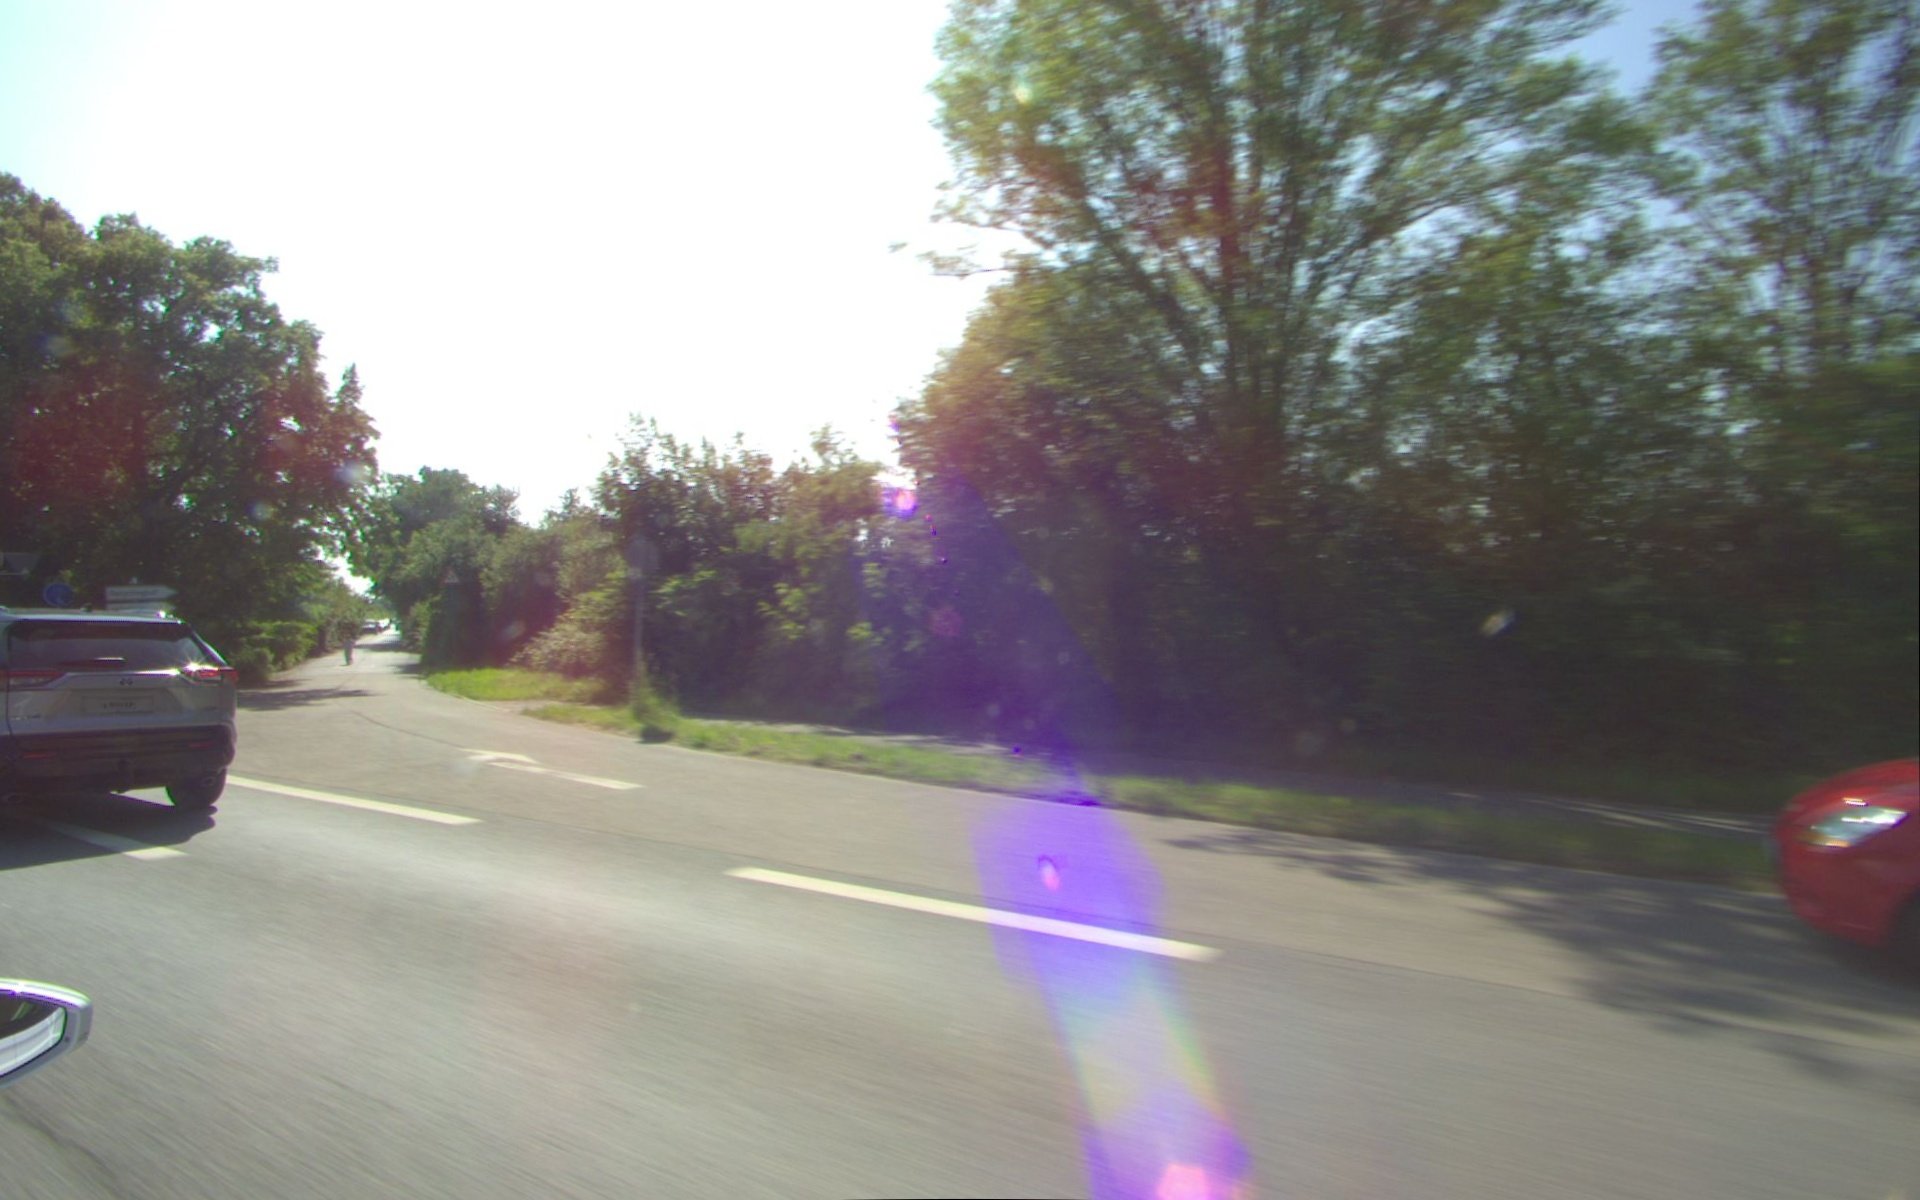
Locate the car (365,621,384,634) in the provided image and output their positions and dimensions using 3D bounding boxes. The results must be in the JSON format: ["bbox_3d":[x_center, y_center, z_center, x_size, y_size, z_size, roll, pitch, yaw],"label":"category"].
[{"bbox_3d":[-77.042,3.600,131.898,1.652,1.630,3.862,1,-2,-23],"label":"car"}]

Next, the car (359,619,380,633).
[{"bbox_3d":[-70.048,3.113,118.895,1.652,1.630,3.862,1,-2,-23],"label":"car"}]

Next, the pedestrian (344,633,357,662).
[{"bbox_3d":[-30.823,2.385,50.644,0.562,1.451,0.466,0,-1,-28],"label":"pedestrian"}]

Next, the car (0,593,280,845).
[{"bbox_3d":[-8.058,0.867,8.662,4.616,1.701,1.899,-1,-2,32],"label":"car"}]

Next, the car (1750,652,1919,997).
[{"bbox_3d":[5.619,0.986,4.197,3.521,1.471,1.541,-1,-2,35],"label":"car"}]
